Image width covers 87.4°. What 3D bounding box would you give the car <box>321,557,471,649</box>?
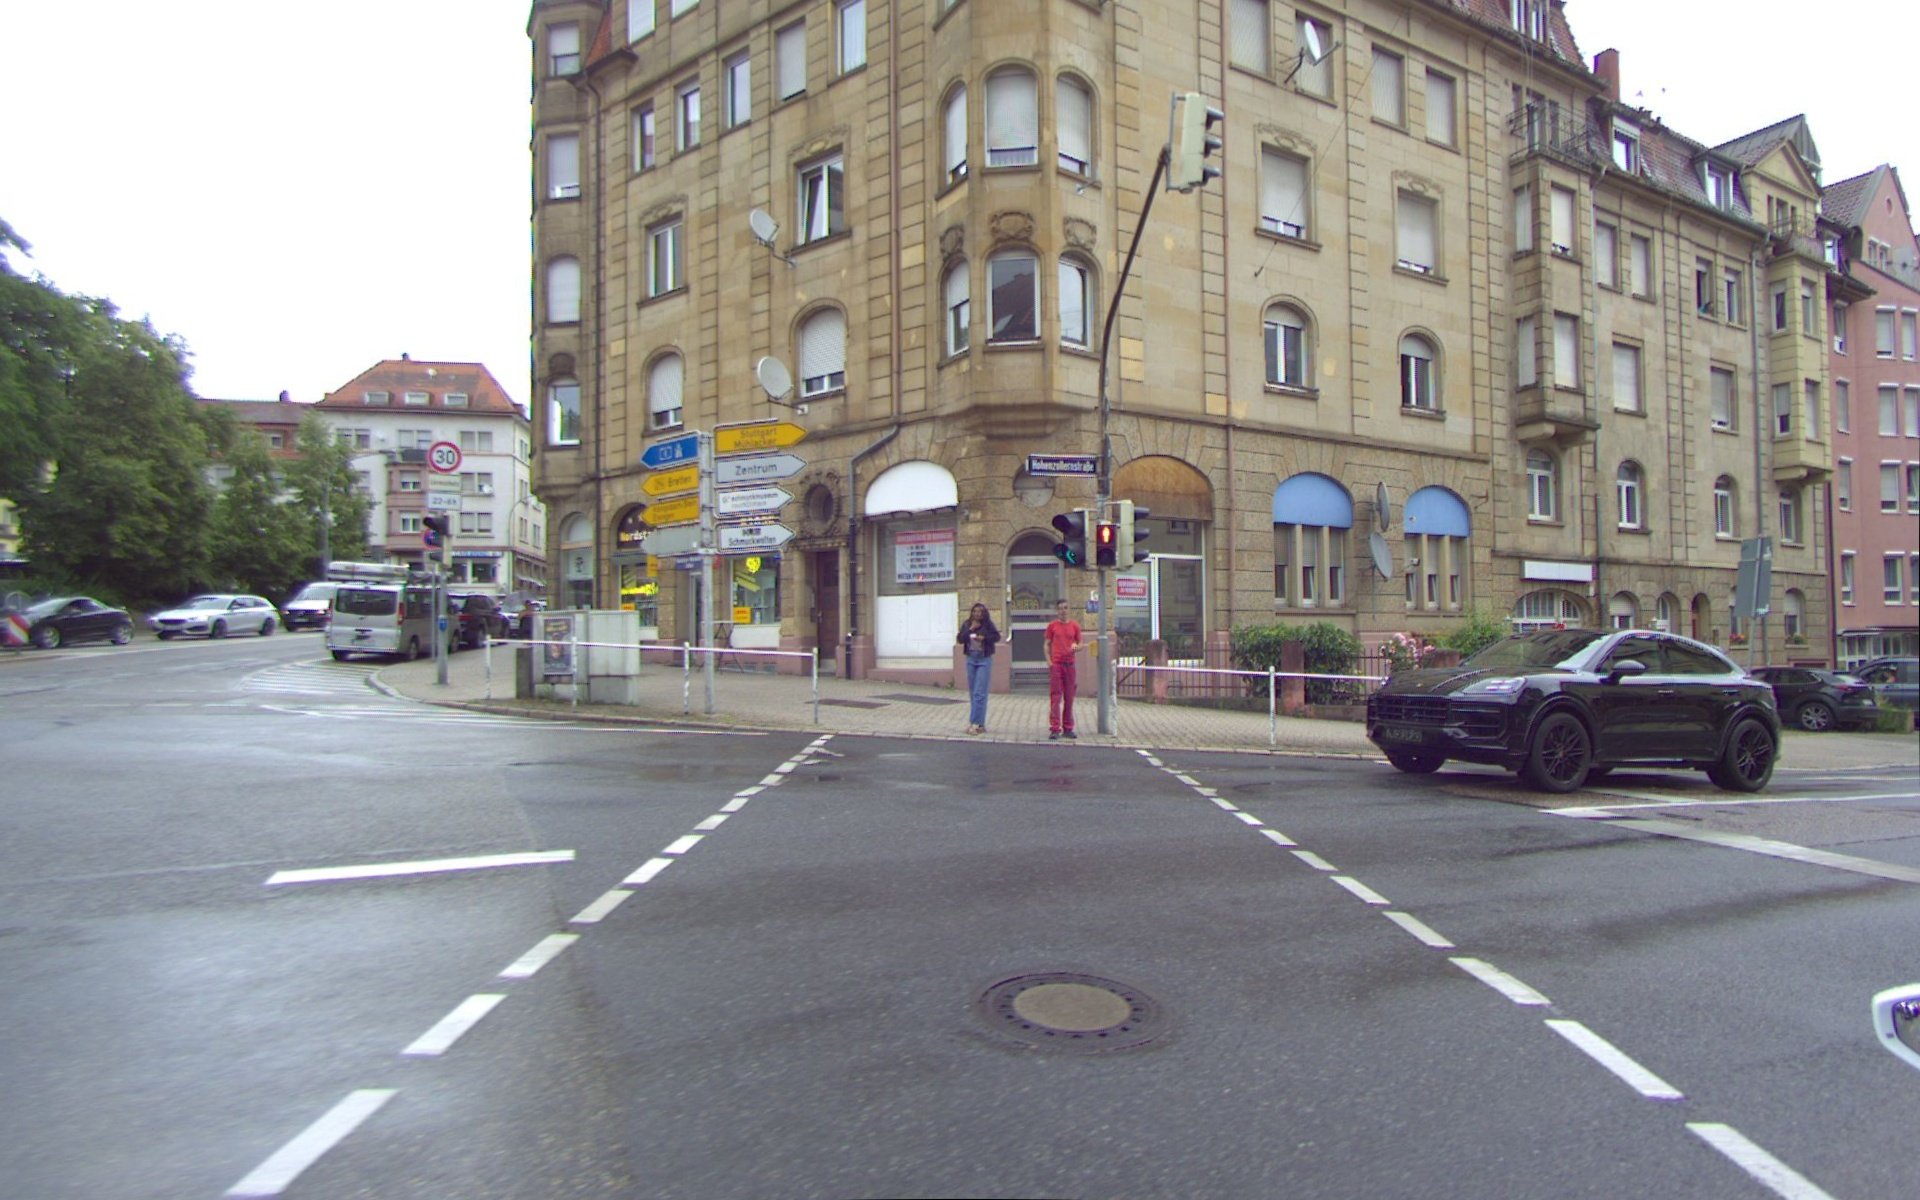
[{"bbox_3d":[-14.979,0.124,27.022,1.964,2.197,4.795,2,-1,-10],"label":"car"}]

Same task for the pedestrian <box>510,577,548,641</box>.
[{"bbox_3d":[-11.555,0.237,26.949,0.776,1.683,0.664,2,-1,-35],"label":"pedestrian"}]

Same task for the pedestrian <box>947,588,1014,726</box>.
[{"bbox_3d":[0.272,0.734,13.142,0.812,1.724,0.639,2,-1,2],"label":"pedestrian"}]

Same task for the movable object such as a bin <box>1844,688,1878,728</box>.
[{"bbox_3d":[22.659,2.711,25.270,0.434,0.962,0.503,3,-1,-24],"label":"movable object such as a bin"}]

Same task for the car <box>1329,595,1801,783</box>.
[{"bbox_3d":[6.617,0.984,10.990,4.737,1.715,1.962,4,-3,-21],"label":"car"}]

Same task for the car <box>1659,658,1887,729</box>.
[{"bbox_3d":[20.469,2.306,25.474,1.851,1.530,4.130,2,-2,-29],"label":"car"}]

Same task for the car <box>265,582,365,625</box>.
[{"bbox_3d":[-25.942,0.186,40.566,1.706,1.558,4.150,3,-2,-7],"label":"car"}]

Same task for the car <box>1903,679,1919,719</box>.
[{"bbox_3d":[36.128,3.501,34.952,1.747,1.419,4.529,3,-4,-29],"label":"car"}]

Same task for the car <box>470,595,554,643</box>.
[{"bbox_3d":[-17.256,0.721,38.878,1.964,1.727,4.208,1,-1,-10],"label":"car"}]

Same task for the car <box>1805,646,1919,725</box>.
[{"bbox_3d":[25.742,2.315,26.775,1.847,1.964,4.638,2,-1,-38],"label":"car"}]

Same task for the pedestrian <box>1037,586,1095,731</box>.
[{"bbox_3d":[1.351,0.736,12.876,0.679,1.797,0.524,2,-1,4],"label":"pedestrian"}]

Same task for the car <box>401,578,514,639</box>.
[{"bbox_3d":[-15.828,0.288,31.894,1.964,1.726,4.374,2,-1,-10],"label":"car"}]

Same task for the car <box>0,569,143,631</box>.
[{"bbox_3d":[-23.944,0.035,26.568,1.734,1.511,4.019,0,-1,-7],"label":"car"}]

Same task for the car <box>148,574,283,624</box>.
[{"bbox_3d":[-24.682,-0.002,33.506,1.706,1.558,4.297,0,-1,-7],"label":"car"}]
